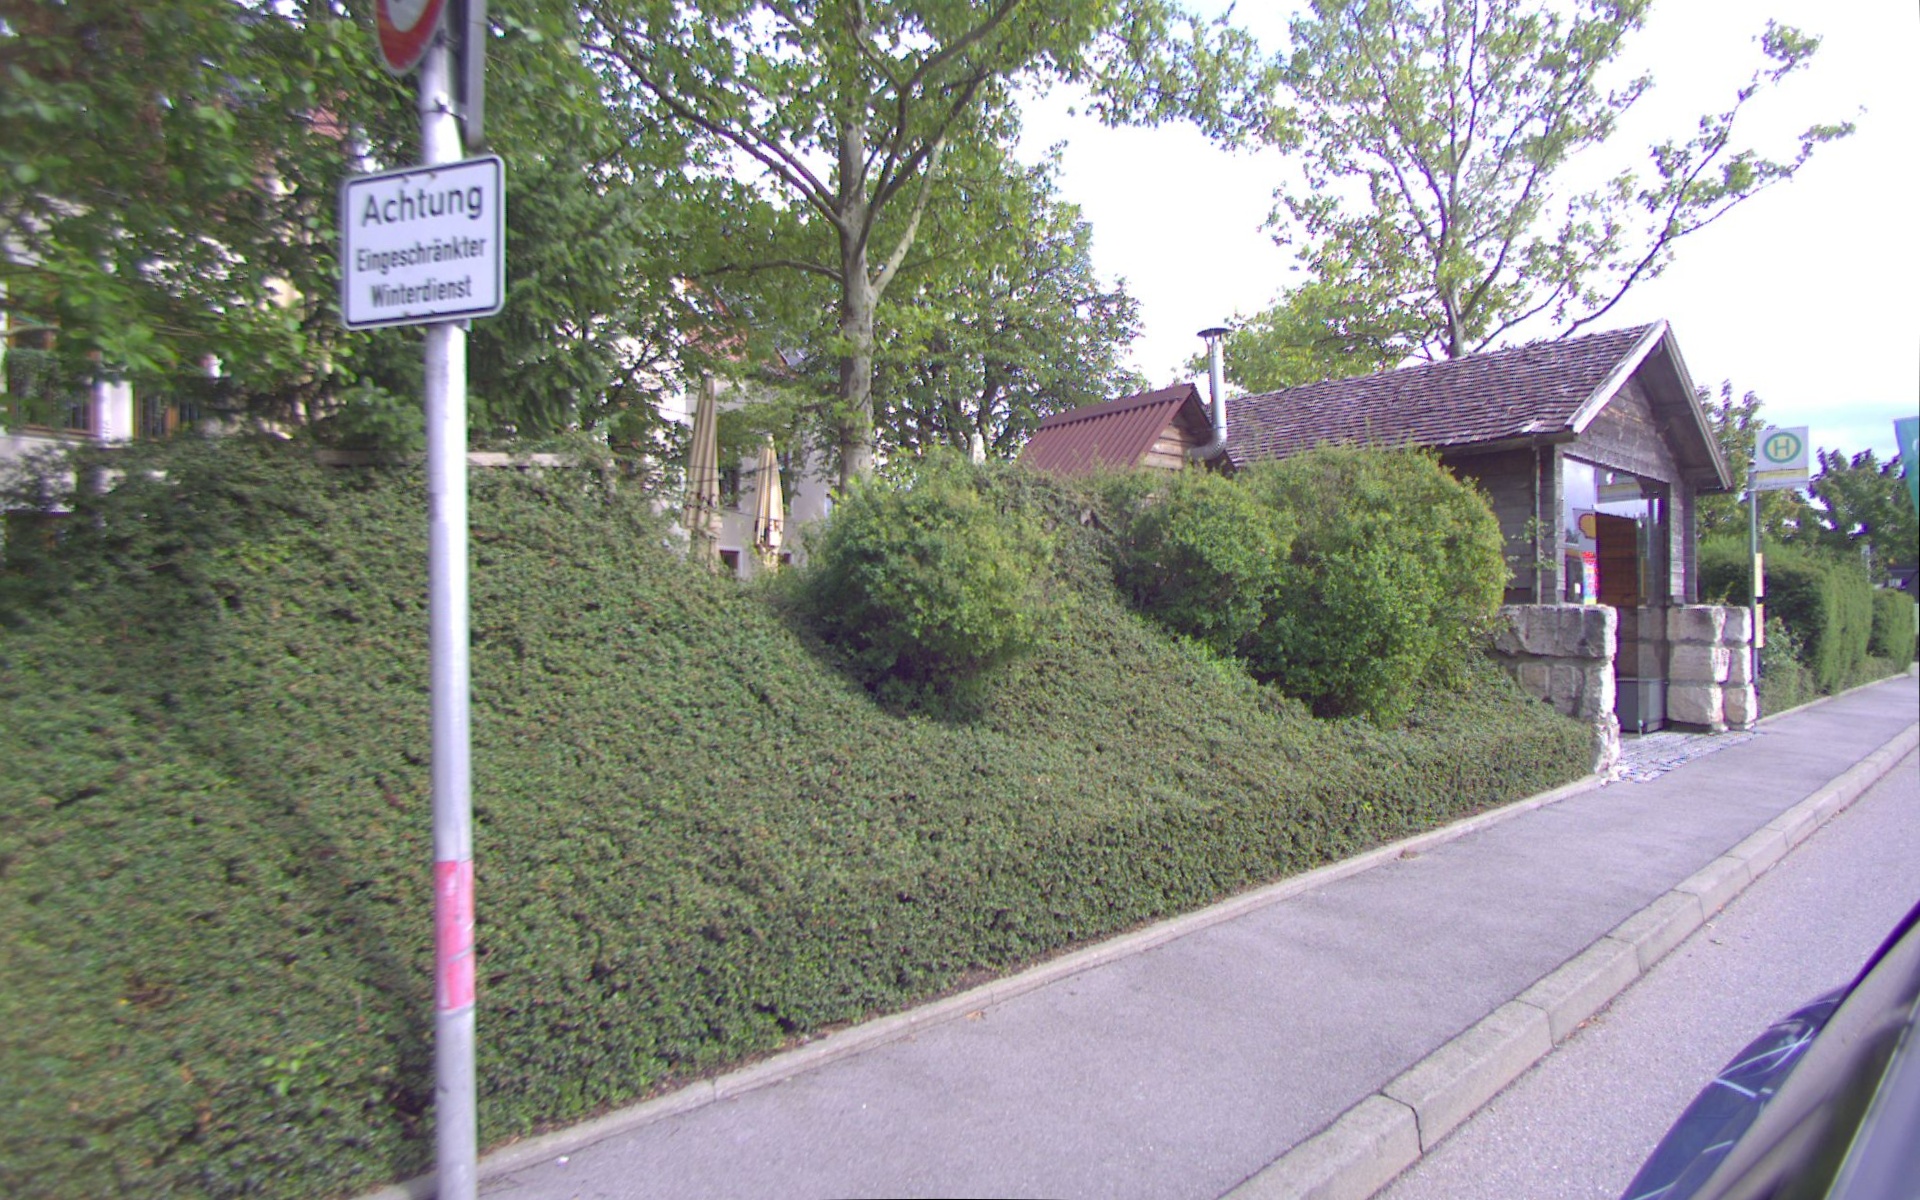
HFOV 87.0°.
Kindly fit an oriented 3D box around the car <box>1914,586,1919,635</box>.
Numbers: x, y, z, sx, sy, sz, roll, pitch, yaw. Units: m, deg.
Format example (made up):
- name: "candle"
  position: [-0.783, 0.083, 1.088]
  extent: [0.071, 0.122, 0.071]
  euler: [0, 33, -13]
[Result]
- name: "car"
  position: [35.454, 0.355, 34.204]
  extent: [1.624, 1.738, 4.366]
  euler: [0, -1, -31]
